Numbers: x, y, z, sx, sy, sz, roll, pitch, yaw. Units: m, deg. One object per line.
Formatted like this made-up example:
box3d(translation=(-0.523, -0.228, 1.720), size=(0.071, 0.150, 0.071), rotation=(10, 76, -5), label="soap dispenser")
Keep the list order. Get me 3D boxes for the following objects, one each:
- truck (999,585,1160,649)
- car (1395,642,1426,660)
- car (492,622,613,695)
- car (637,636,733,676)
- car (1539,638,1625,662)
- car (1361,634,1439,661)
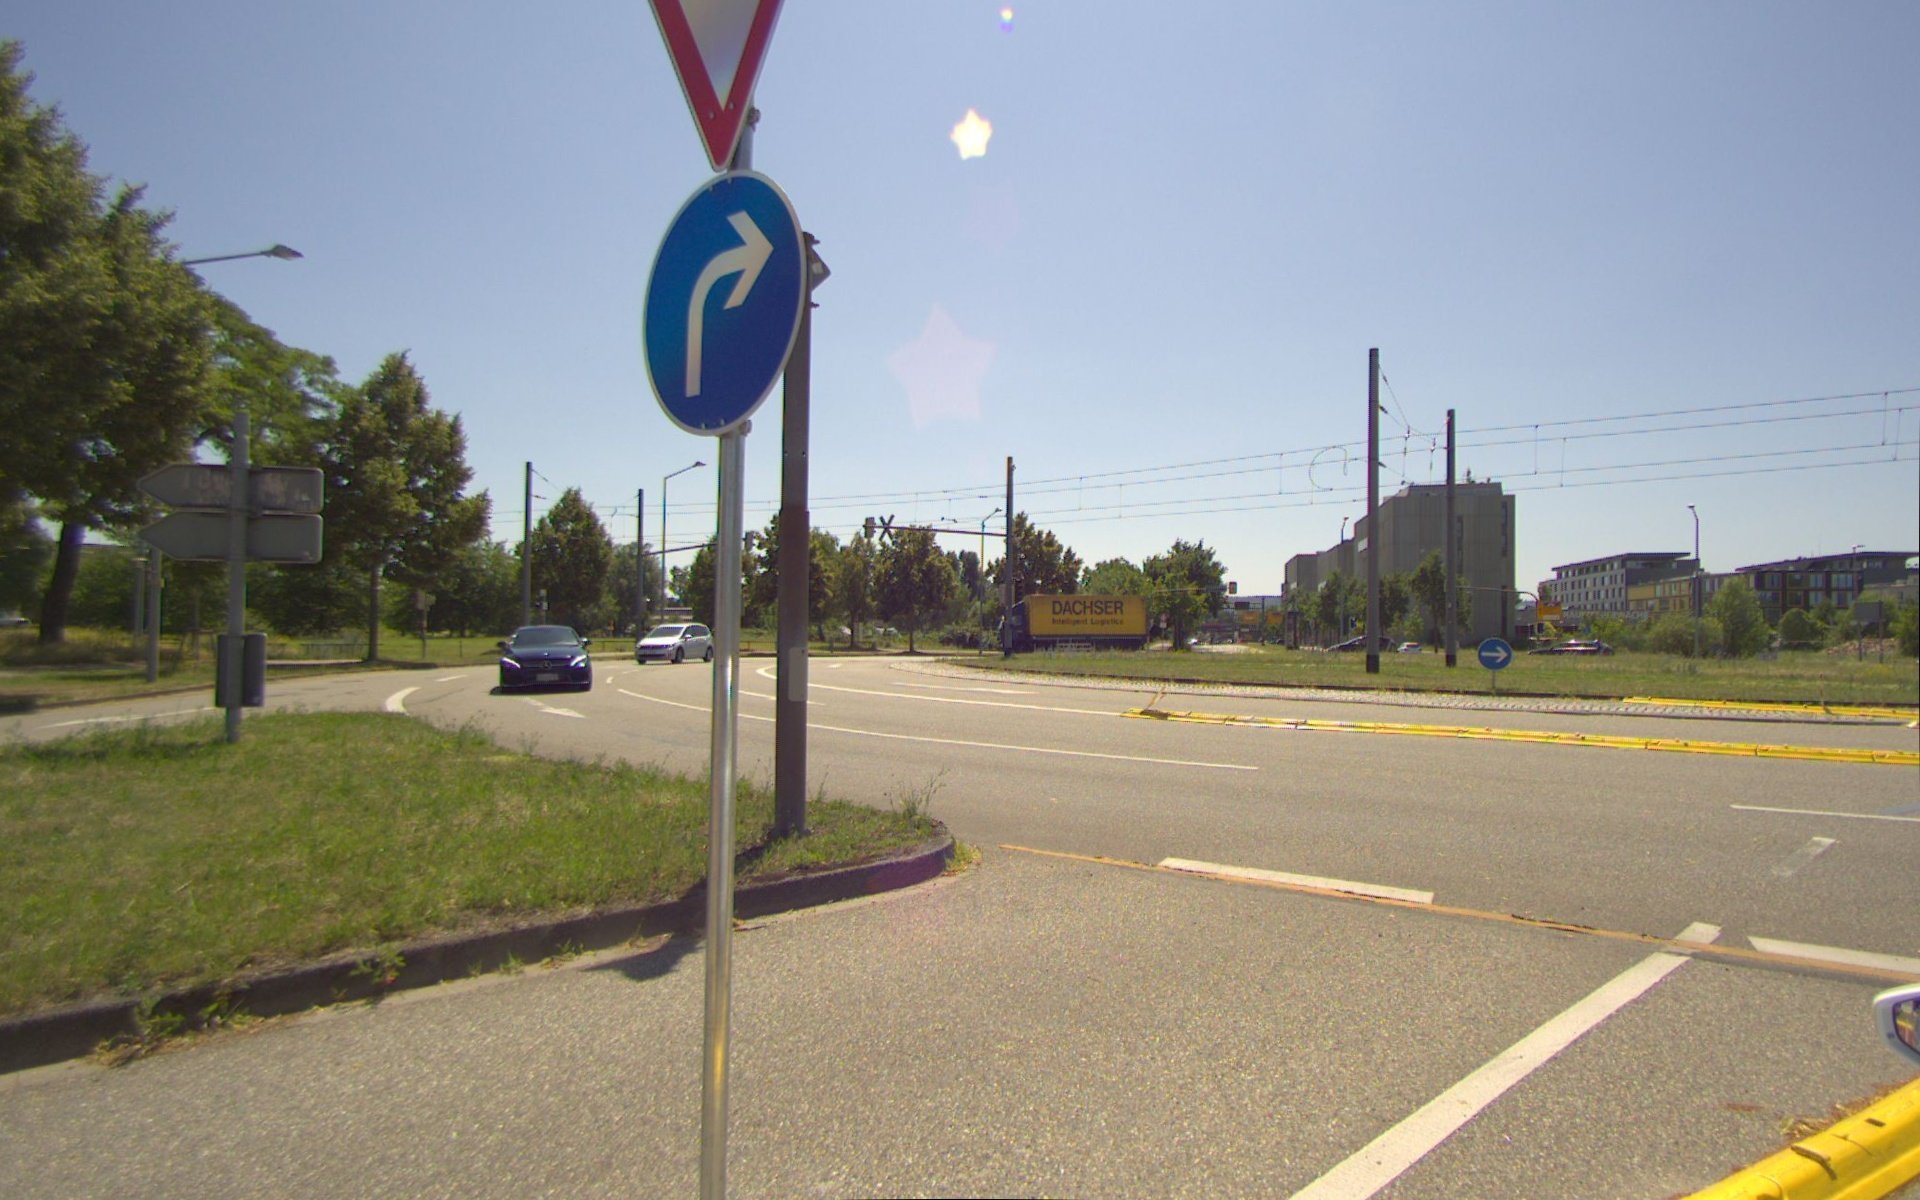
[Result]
box3d(translation=(7.228, 1.060, 61.404), size=(9.433, 3.707, 2.706), rotation=(1, -1, -5), label="truck")
box3d(translation=(43.506, 4.913, 97.051), size=(1.959, 1.639, 4.003), rotation=(2, -1, 14), label="car")
box3d(translation=(-9.064, 1.246, 22.738), size=(1.826, 1.455, 4.941), rotation=(1, -1, -14), label="car")
box3d(translation=(-11.357, 2.284, 41.867), size=(1.789, 1.473, 5.027), rotation=(1, -2, 11), label="car")
box3d(translation=(38.353, 3.057, 61.984), size=(4.410, 1.336, 1.993), rotation=(-1, -2, 36), label="car")
box3d(translation=(26.380, 2.848, 60.354), size=(3.967, 1.480, 1.731), rotation=(1, -1, 5), label="car")
